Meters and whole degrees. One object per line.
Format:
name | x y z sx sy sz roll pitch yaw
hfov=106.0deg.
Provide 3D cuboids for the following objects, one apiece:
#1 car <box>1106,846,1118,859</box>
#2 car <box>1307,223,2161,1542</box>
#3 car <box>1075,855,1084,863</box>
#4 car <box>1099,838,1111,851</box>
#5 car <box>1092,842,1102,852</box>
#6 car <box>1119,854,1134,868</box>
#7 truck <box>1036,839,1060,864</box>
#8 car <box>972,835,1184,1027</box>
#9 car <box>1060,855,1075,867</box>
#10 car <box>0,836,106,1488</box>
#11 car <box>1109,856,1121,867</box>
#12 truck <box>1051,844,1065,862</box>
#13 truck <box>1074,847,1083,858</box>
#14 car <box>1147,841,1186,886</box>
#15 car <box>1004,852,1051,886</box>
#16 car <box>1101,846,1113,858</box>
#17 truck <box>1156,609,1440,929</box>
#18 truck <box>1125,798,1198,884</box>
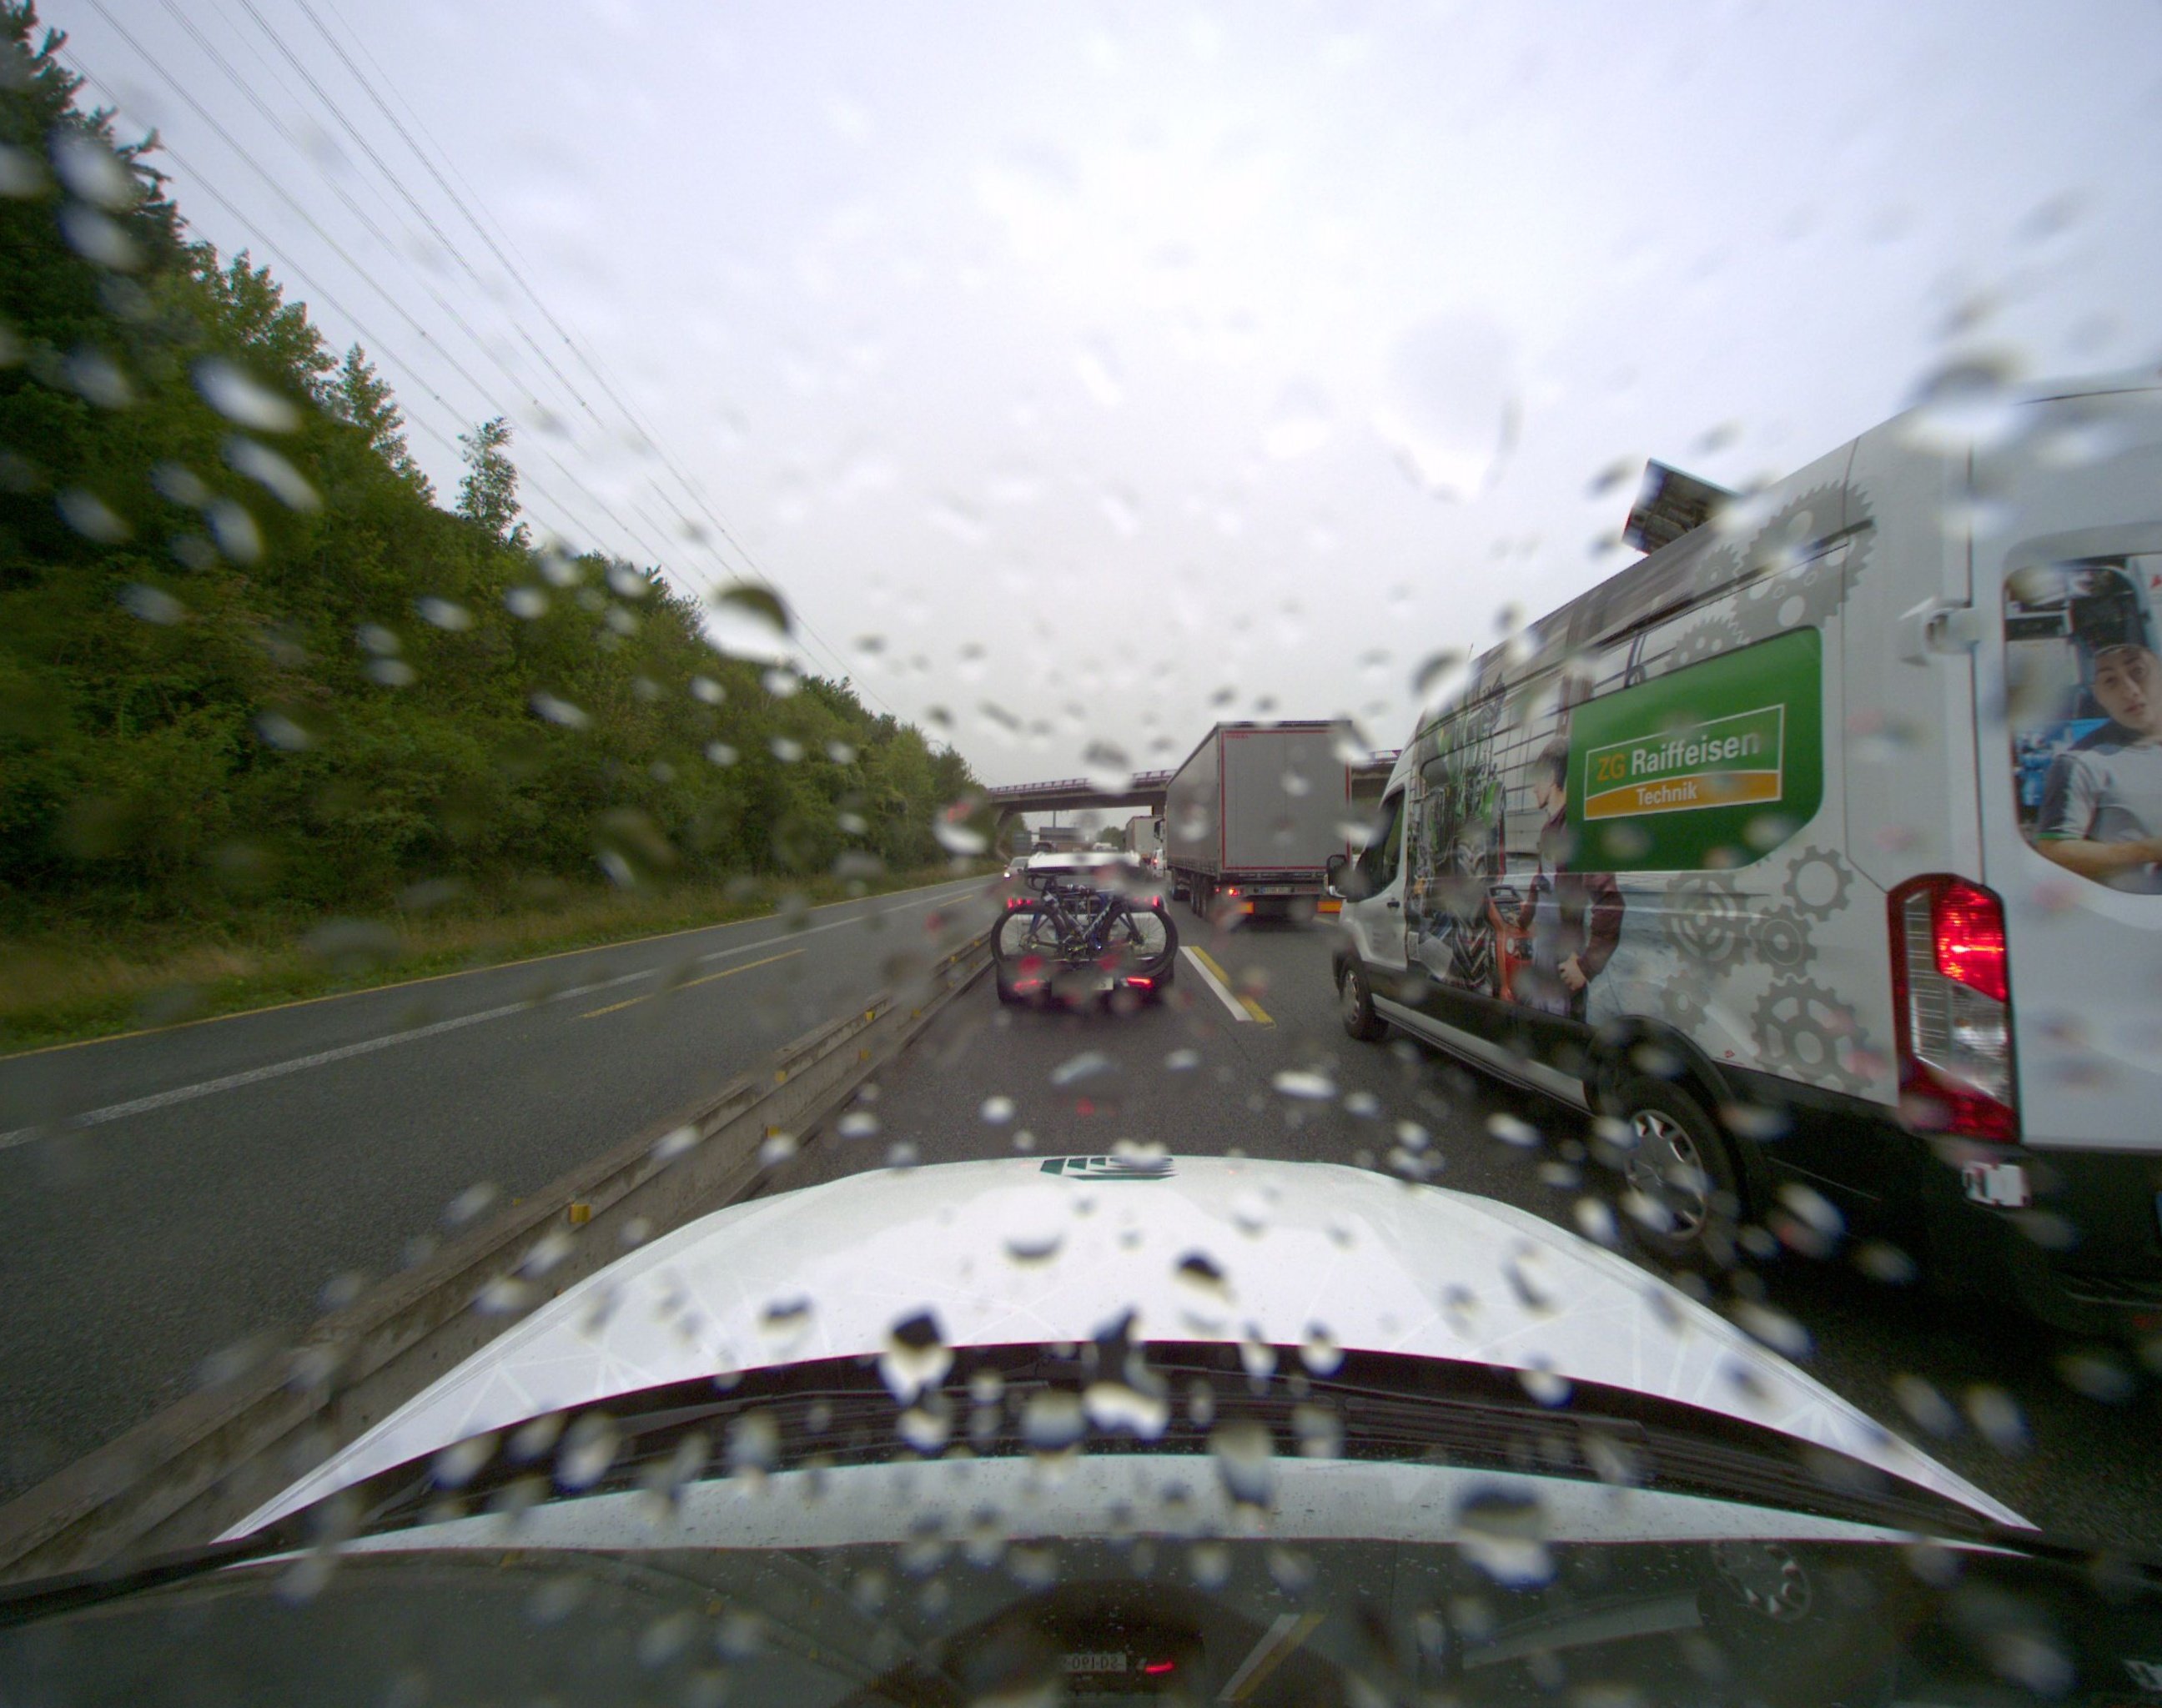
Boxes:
car | 4.977 -0.240 130.388 1.986 2.014 4.002 -1 -1 2
car | 3.130 0.058 4.695 2.136 2.676 6.120 -1 0 2
car | -0.276 0.982 148.861 1.680 1.409 3.930 -1 0 0
car | 4.534 -1.768 155.978 2.230 2.307 4.574 -1 -1 2
car | 3.542 -1.426 176.610 1.986 2.126 4.529 -1 -1 2
car | 5.107 0.818 92.402 1.632 1.497 3.668 -1 0 2
truck | -5.011 -0.303 125.359 2.671 3.656 12.318 -1 0 2
car | 0.102 0.680 9.305 1.802 1.637 4.639 -1 0 3
car | -1.701 0.881 104.822 1.773 1.443 4.329 -1 0 1
car | -3.539 0.733 0.168 1.803 1.559 3.991 -1 0 1
car | 4.940 1.118 117.878 1.632 1.497 3.668 -1 0 2
truck | -5.478 -0.138 189.828 2.760 4.123 16.905 -1 0 -3
truck | -0.796 -0.431 261.237 2.526 3.352 12.052 -1 0 1
car | 4.340 0.474 41.800 1.663 2.180 4.536 -1 -1 2
car | -2.484 0.683 38.463 1.803 1.488 4.397 -1 0 1
car | 4.531 -0.374 143.122 1.986 2.014 4.002 -1 -1 2
truck | 4.797 -1.444 24.734 3.964 5.673 20.386 -1 0 2
truck | 5.903 -0.778 64.027 4.723 5.673 20.393 -1 0 3
